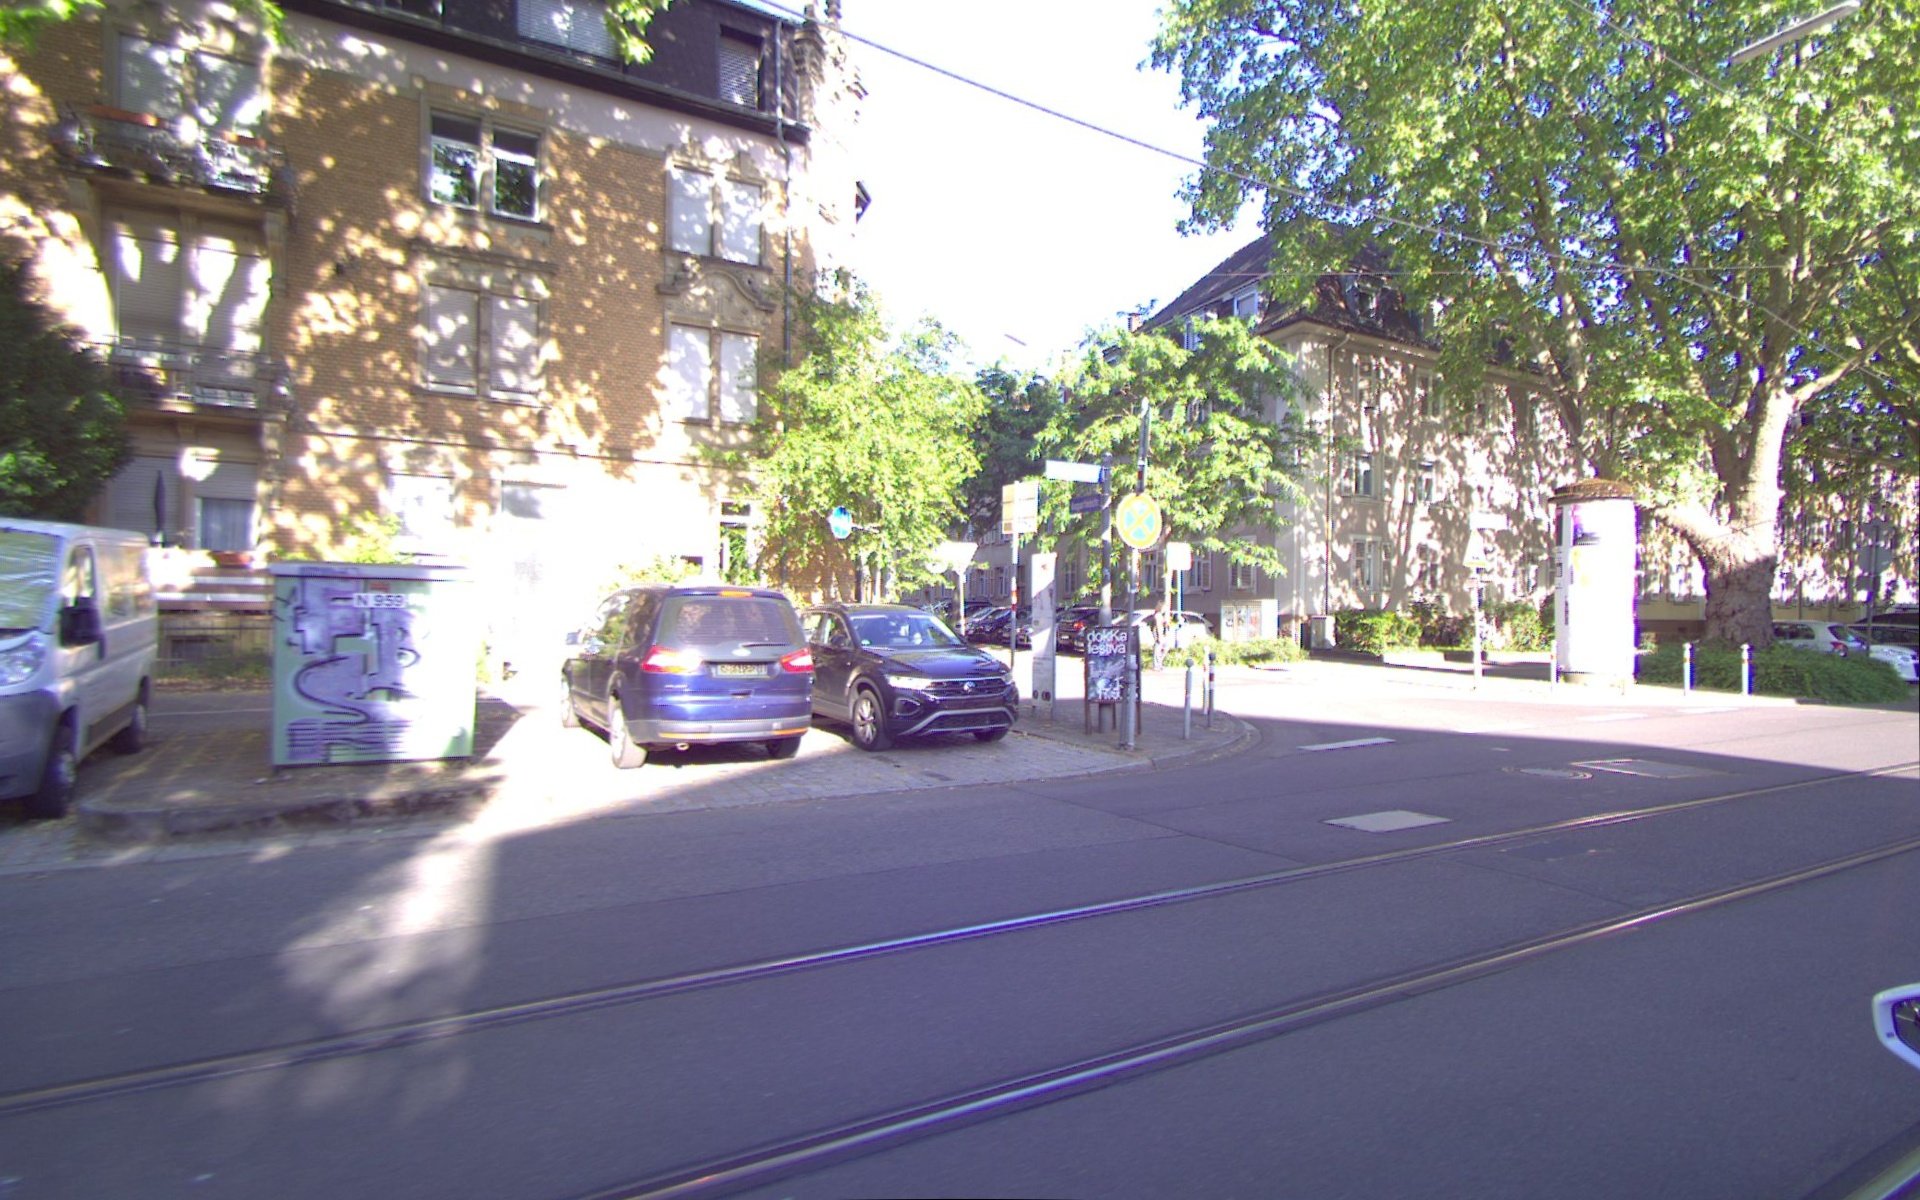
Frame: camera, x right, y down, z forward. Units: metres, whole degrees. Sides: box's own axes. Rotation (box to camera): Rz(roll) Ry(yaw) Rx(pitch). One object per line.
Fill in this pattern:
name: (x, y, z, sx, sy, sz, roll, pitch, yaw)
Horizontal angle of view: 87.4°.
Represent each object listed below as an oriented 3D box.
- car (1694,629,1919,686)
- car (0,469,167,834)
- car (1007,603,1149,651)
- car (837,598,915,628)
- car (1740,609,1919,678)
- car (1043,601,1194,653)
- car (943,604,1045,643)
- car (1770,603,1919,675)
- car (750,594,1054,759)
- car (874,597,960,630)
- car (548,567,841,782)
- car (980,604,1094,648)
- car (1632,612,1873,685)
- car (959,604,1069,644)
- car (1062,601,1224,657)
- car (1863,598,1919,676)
car: (21.439, 1.479, 25.456, 1.695, 1.307, 4.270, 2, -4, -37)
car: (-7.972, 0.275, 7.999, 2.063, 2.289, 5.004, 1, 0, -32)
car: (4.213, 0.965, 35.861, 4.617, 1.613, 1.990, 1, 0, -21)
car: (-4.650, 0.730, 55.715, 3.954, 1.540, 1.855, 1, 0, -31)
car: (23.300, 1.172, 26.249, 1.766, 1.696, 4.270, 2, -4, -37)
car: (5.291, 0.912, 33.650, 4.617, 1.613, 1.990, 1, 0, -21)
car: (1.453, 0.999, 42.480, 3.954, 1.540, 1.855, 1, 0, -31)
car: (25.204, 1.102, 27.564, 1.766, 1.864, 4.270, 2, -4, -37)
car: (-0.909, 0.762, 12.303, 1.904, 1.628, 4.276, 1, 0, -32)
car: (-2.182, 0.680, 50.808, 3.954, 1.540, 1.855, 1, 0, -31)
car: (-3.060, 0.627, 10.851, 1.904, 1.825, 4.276, 1, 0, -32)
car: (2.938, 0.983, 37.995, 3.954, 1.540, 1.855, 1, 0, -31)
car: (19.132, 1.224, 24.443, 1.766, 1.614, 4.270, 2, -4, -37)
car: (2.154, 0.951, 40.150, 3.954, 1.510, 1.984, 1, 0, -31)
car: (5.697, 0.907, 31.298, 4.669, 1.613, 1.853, 1, 0, -21)
car: (31.126, 1.098, 30.526, 2.056, 2.405, 5.016, 1, -4, -29)
